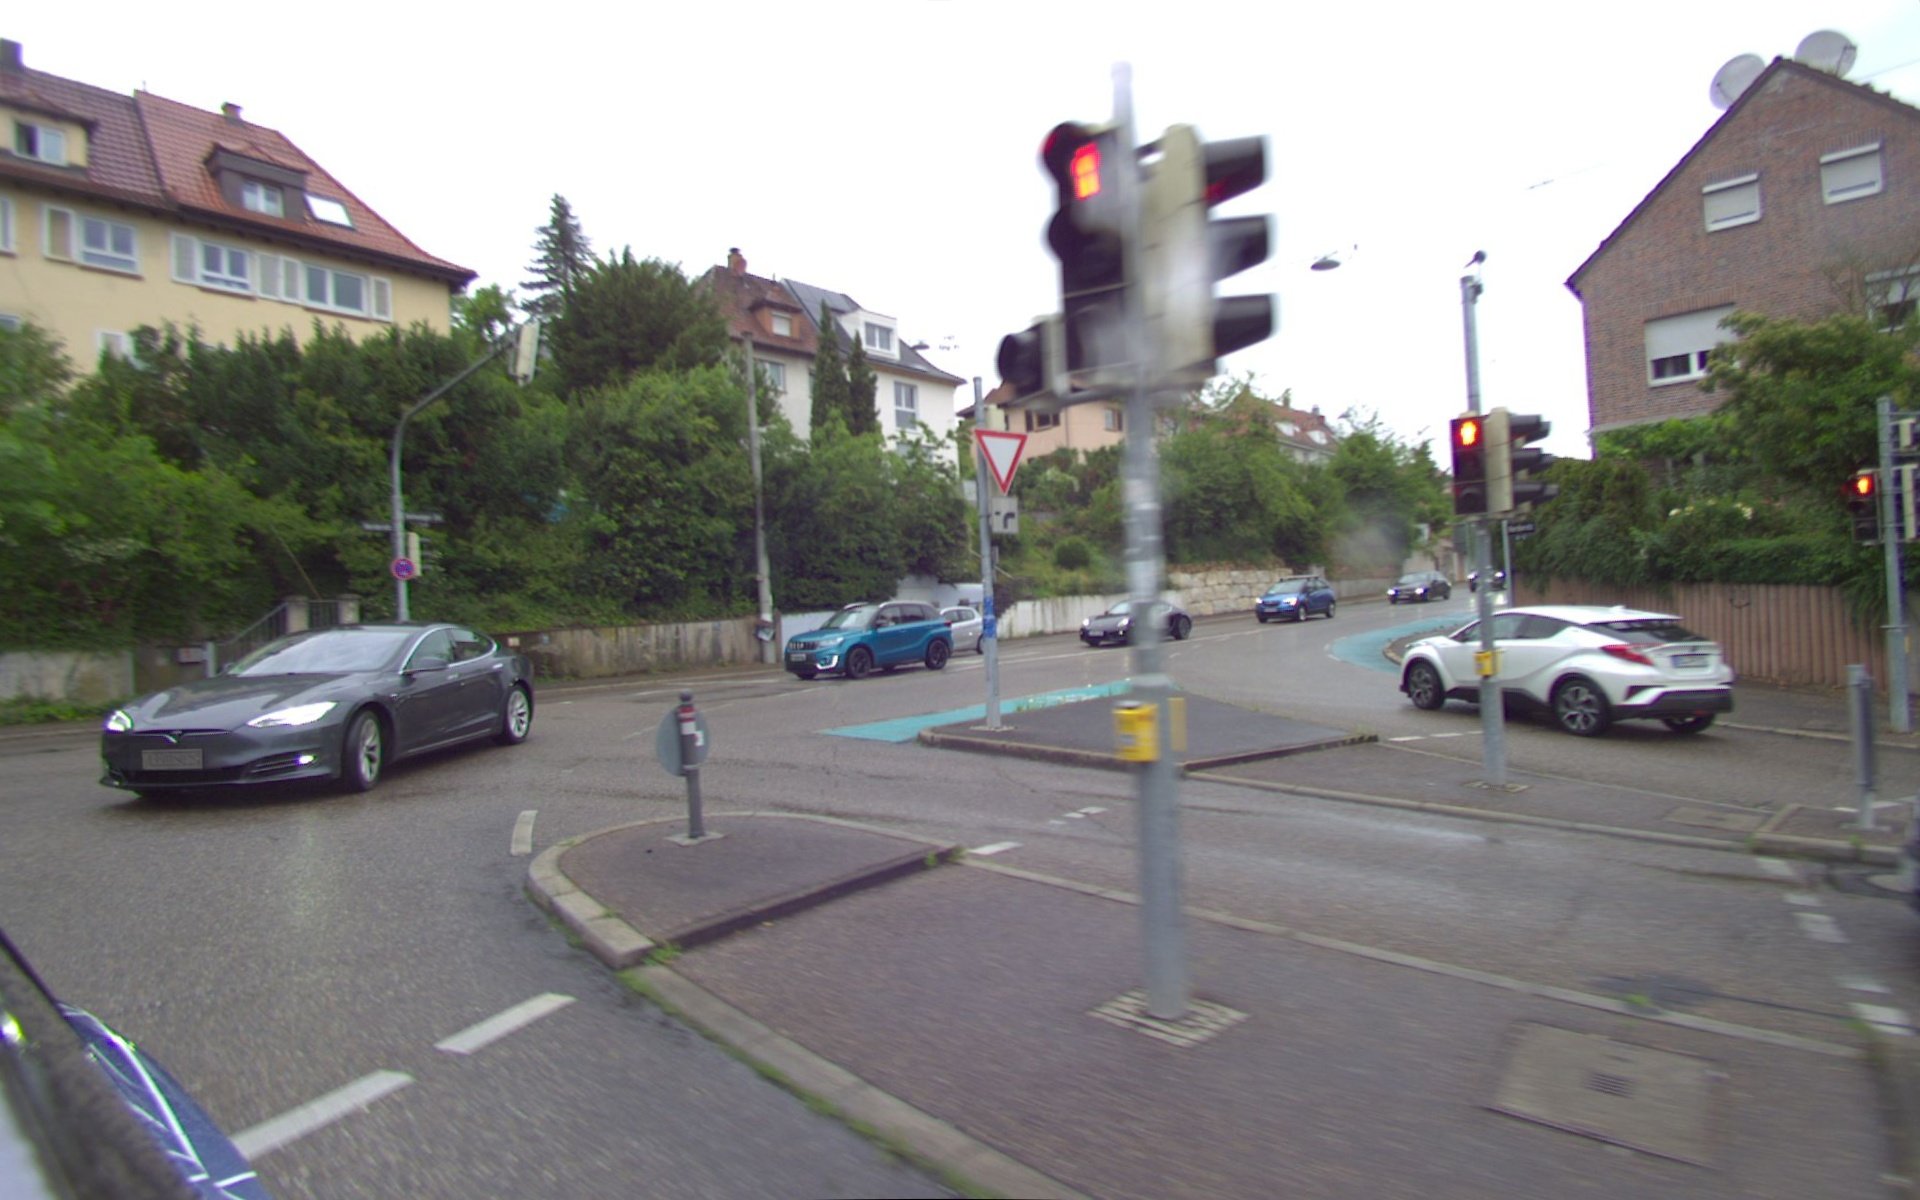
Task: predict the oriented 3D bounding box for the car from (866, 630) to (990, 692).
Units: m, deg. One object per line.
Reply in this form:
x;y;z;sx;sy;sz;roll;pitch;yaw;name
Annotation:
-0.865;1.697;28.588;1.553;1.462;3.318;-5;-2;42;car

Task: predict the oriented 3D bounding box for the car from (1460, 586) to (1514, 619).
29.619;0.130;56.845;1.758;1.662;3.987;-7;-4;40;car

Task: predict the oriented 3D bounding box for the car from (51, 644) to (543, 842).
-5.808;1.153;9.664;1.811;1.402;4.321;-1;-2;1;car

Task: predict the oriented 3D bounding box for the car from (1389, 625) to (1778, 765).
7.772;1.077;13.192;1.683;1.478;4.273;0;-1;-16;car

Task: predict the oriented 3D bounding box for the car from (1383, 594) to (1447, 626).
21.869;0.461;48.619;1.758;1.471;3.987;-2;-1;40;car

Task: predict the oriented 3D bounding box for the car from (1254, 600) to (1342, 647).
12.903;0.866;38.522;1.758;1.662;3.987;-2;-1;40;car

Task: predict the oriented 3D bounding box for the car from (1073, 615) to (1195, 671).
5.211;1.233;29.924;1.758;1.471;3.987;-2;-1;40;car

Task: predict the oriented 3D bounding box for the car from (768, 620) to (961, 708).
-1.980;1.337;21.915;1.801;1.622;3.987;-5;-3;40;car
